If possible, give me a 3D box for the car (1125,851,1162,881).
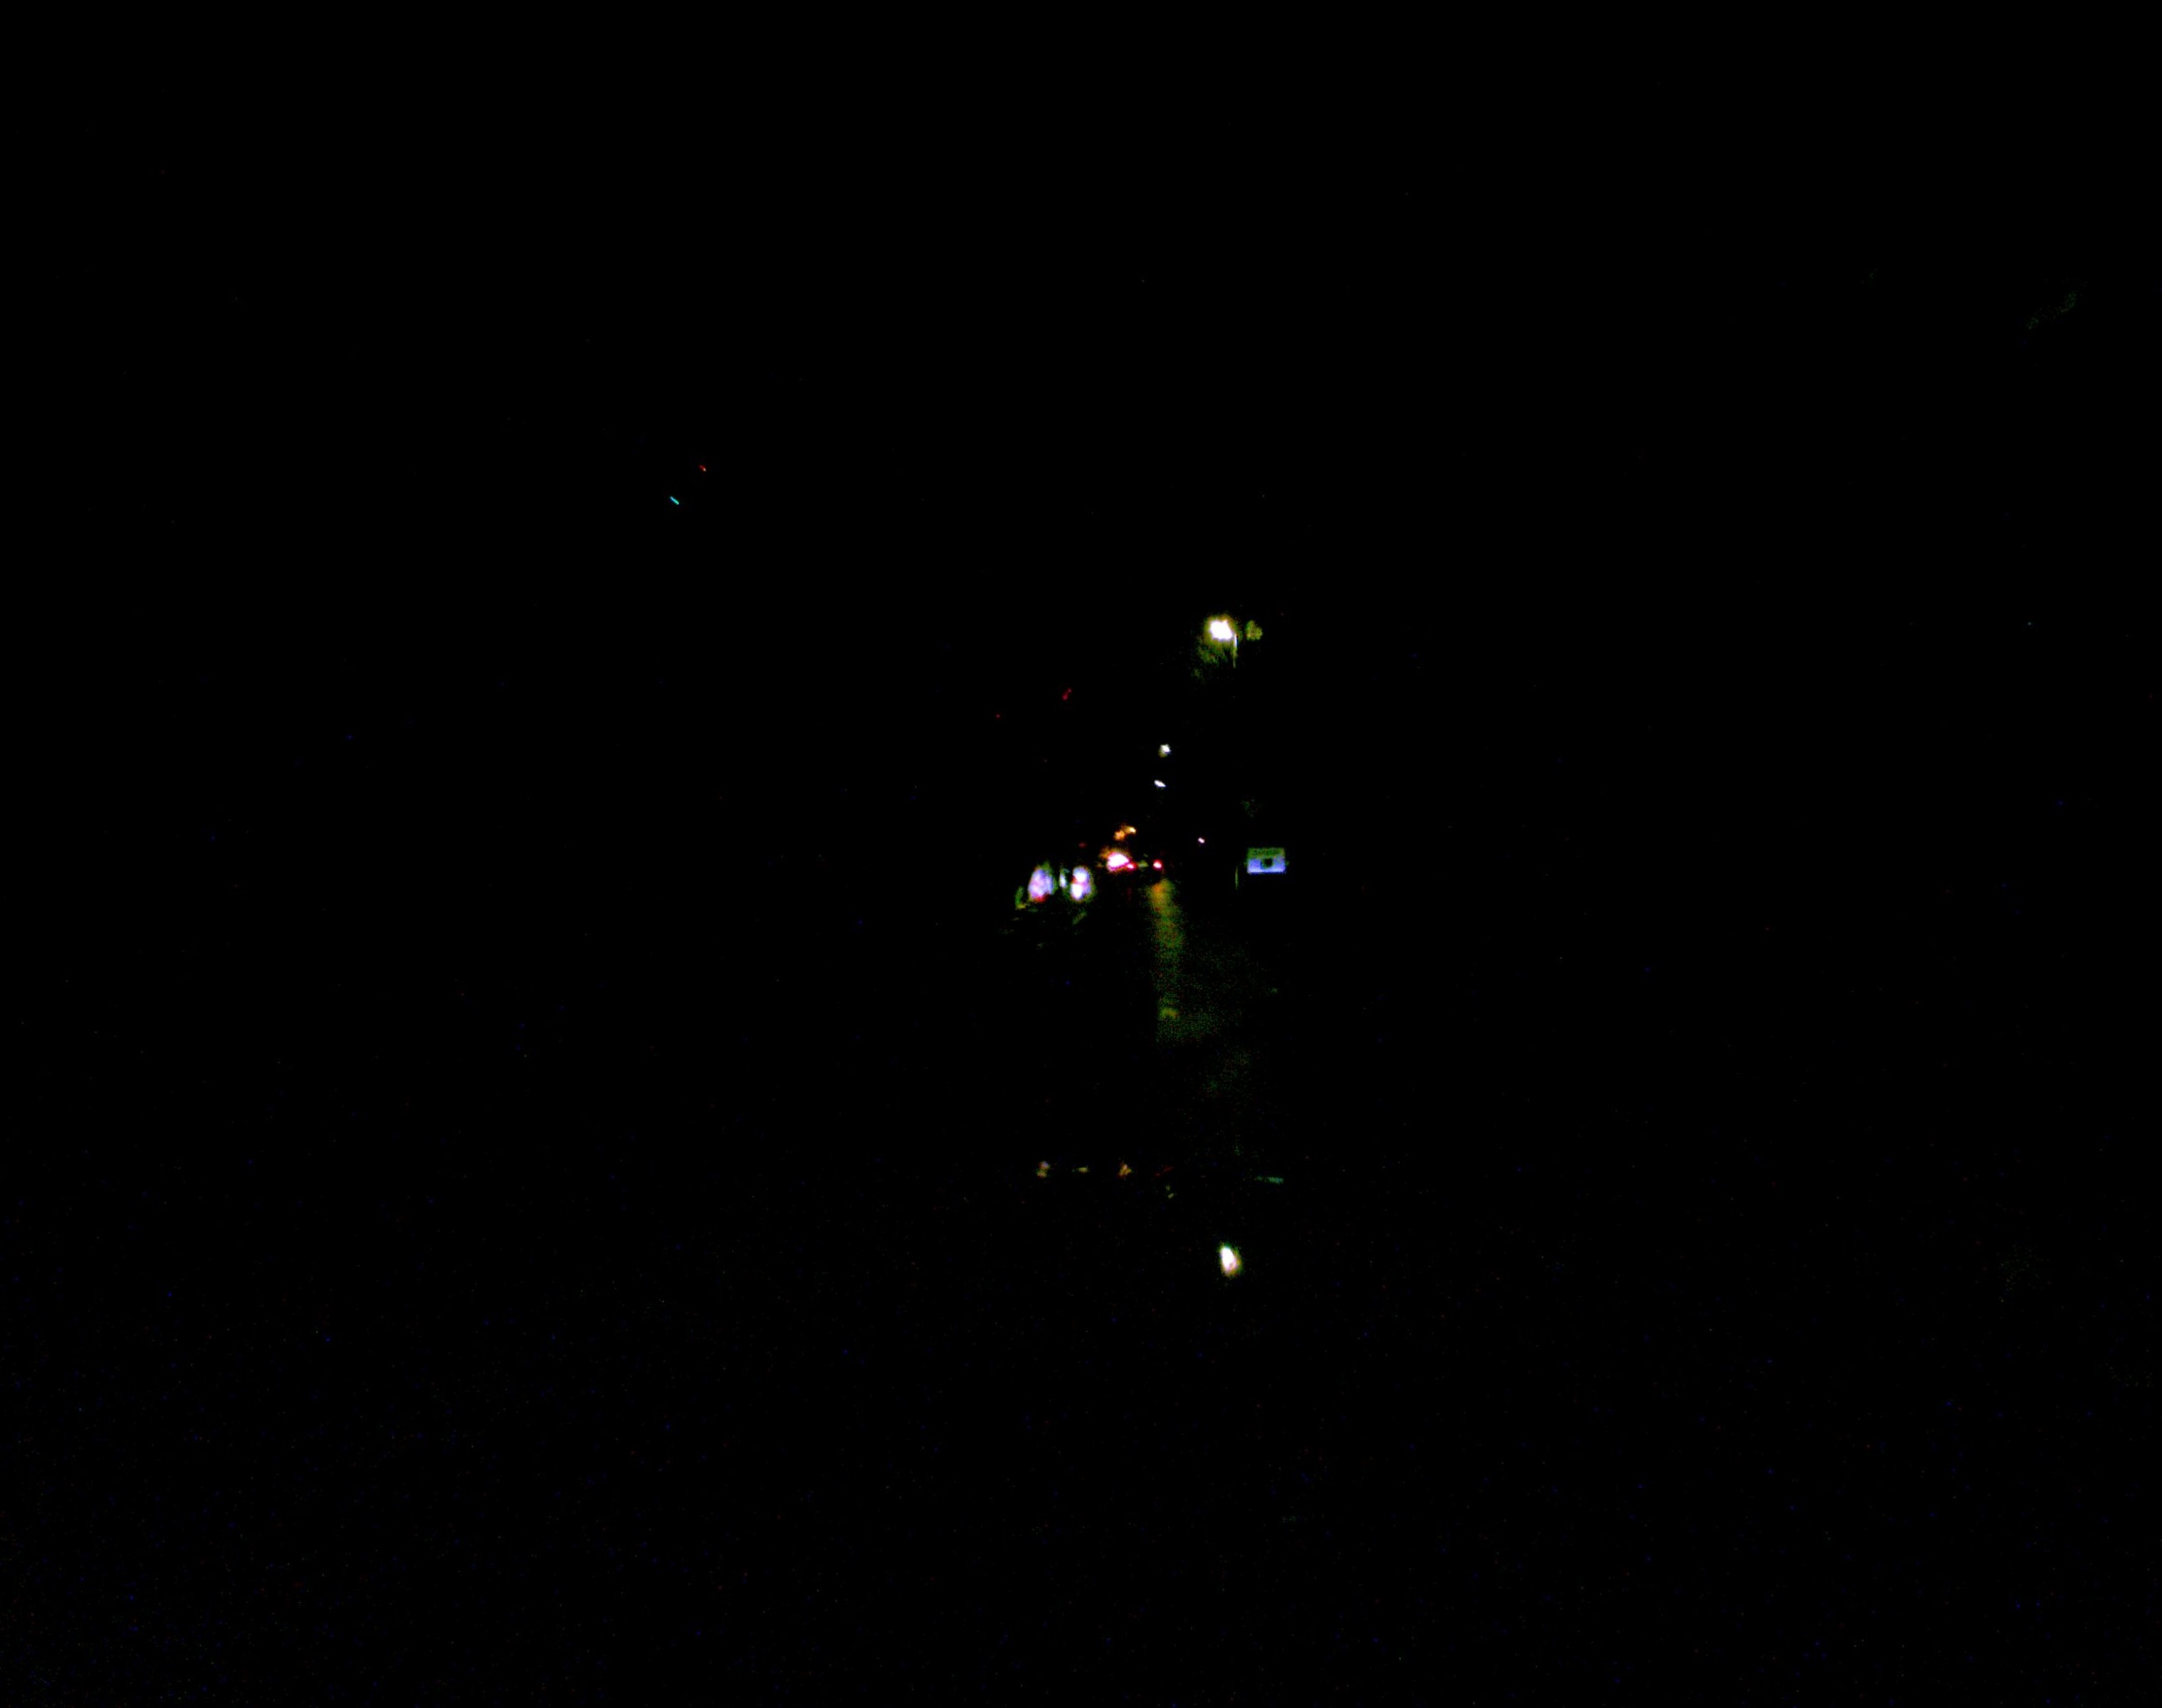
[{"bbox_3d":[3.623,0.693,47.780,1.986,1.684,4.001,1,0,2],"label":"car"}]
